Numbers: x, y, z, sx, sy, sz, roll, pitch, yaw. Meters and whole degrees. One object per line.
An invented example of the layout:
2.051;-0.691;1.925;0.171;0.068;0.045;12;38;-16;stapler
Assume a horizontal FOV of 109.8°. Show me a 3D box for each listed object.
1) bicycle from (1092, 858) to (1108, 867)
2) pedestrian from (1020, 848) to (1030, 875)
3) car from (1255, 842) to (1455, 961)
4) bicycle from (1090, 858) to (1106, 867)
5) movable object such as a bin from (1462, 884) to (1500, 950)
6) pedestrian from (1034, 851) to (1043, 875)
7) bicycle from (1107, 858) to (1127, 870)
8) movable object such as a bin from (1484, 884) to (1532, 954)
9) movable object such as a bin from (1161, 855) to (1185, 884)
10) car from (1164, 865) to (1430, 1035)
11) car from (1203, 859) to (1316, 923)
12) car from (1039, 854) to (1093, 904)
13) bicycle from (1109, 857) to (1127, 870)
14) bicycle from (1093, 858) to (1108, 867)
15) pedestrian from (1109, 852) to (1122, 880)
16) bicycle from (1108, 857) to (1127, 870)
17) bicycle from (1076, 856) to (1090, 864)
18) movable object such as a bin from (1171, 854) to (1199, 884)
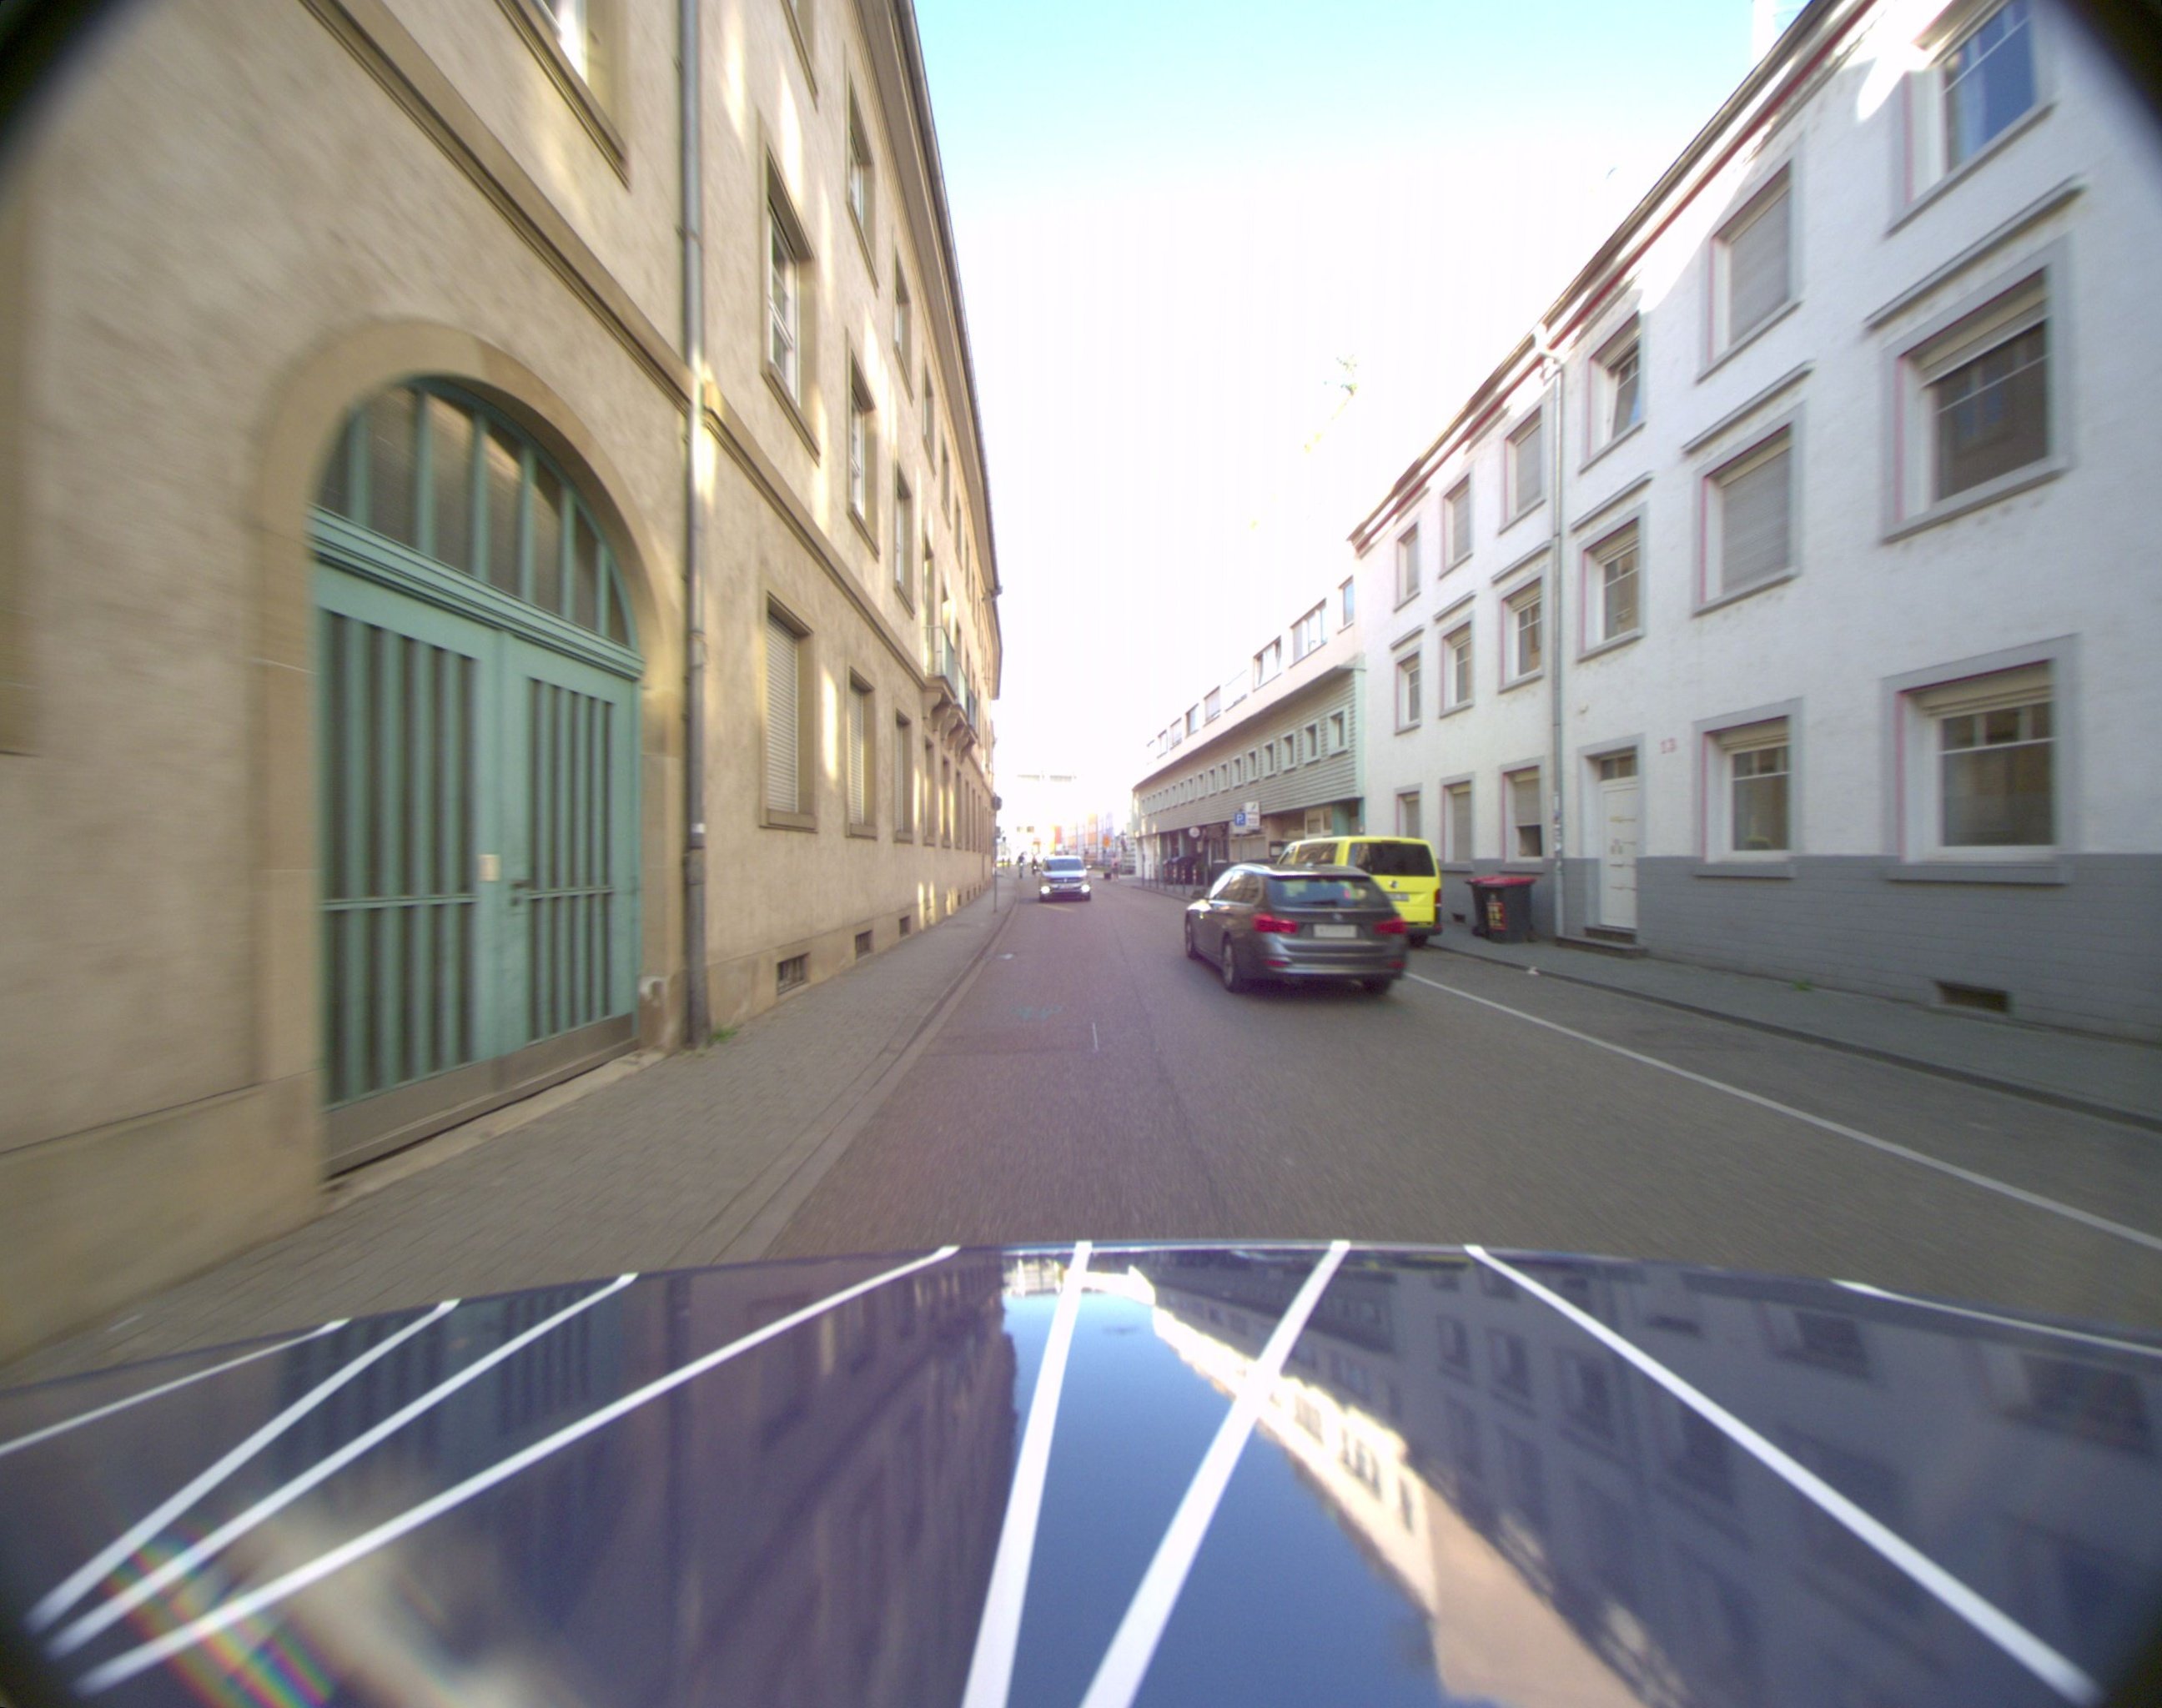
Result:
2.231;0.971;89.057;1.803;0.940;0.388;-4;1;-6;bicycle
-4.016;0.559;54.382;0.678;1.928;0.858;-1;0;-7;pedestrian
4.957;0.764;14.623;1.885;1.856;4.863;2;0;-2;car
1.939;0.990;88.330;1.803;0.940;0.388;-4;1;-6;bicycle
6.935;1.085;13.188;0.411;1.098;0.433;0;1;0;movable object such as a bin
-3.137;0.635;55.487;0.603;1.770;0.651;-1;0;-7;pedestrian
3.546;0.970;74.519;1.821;1.094;0.749;-4;1;-7;bicycle
6.951;1.050;12.381;0.541;1.098;0.433;0;1;0;movable object such as a bin
4.891;0.828;40.338;0.971;1.462;1.474;0;-1;-6;movable object such as a bin
2.359;0.958;9.512;1.720;1.569;4.187;0;0;-7;car
4.728;0.932;20.773;1.824;1.477;4.075;2;0;-4;car
-0.562;0.831;27.414;1.683;1.568;4.241;-3;0;-2;car
3.695;0.949;76.385;1.739;1.094;0.388;-4;1;-13;bicycle
2.289;0.957;90.325;1.658;0.940;0.388;-4;1;-6;bicycle
2.120;0.735;46.911;0.494;1.660;0.627;-3;1;-18;pedestrian
3.659;0.955;75.975;1.739;1.094;0.388;-4;1;-13;bicycle
0.318;0.861;105.203;1.808;0.977;0.653;-5;1;-10;bicycle
5.299;0.766;38.673;1.125;1.511;1.341;0;-1;-6;movable object such as a bin
